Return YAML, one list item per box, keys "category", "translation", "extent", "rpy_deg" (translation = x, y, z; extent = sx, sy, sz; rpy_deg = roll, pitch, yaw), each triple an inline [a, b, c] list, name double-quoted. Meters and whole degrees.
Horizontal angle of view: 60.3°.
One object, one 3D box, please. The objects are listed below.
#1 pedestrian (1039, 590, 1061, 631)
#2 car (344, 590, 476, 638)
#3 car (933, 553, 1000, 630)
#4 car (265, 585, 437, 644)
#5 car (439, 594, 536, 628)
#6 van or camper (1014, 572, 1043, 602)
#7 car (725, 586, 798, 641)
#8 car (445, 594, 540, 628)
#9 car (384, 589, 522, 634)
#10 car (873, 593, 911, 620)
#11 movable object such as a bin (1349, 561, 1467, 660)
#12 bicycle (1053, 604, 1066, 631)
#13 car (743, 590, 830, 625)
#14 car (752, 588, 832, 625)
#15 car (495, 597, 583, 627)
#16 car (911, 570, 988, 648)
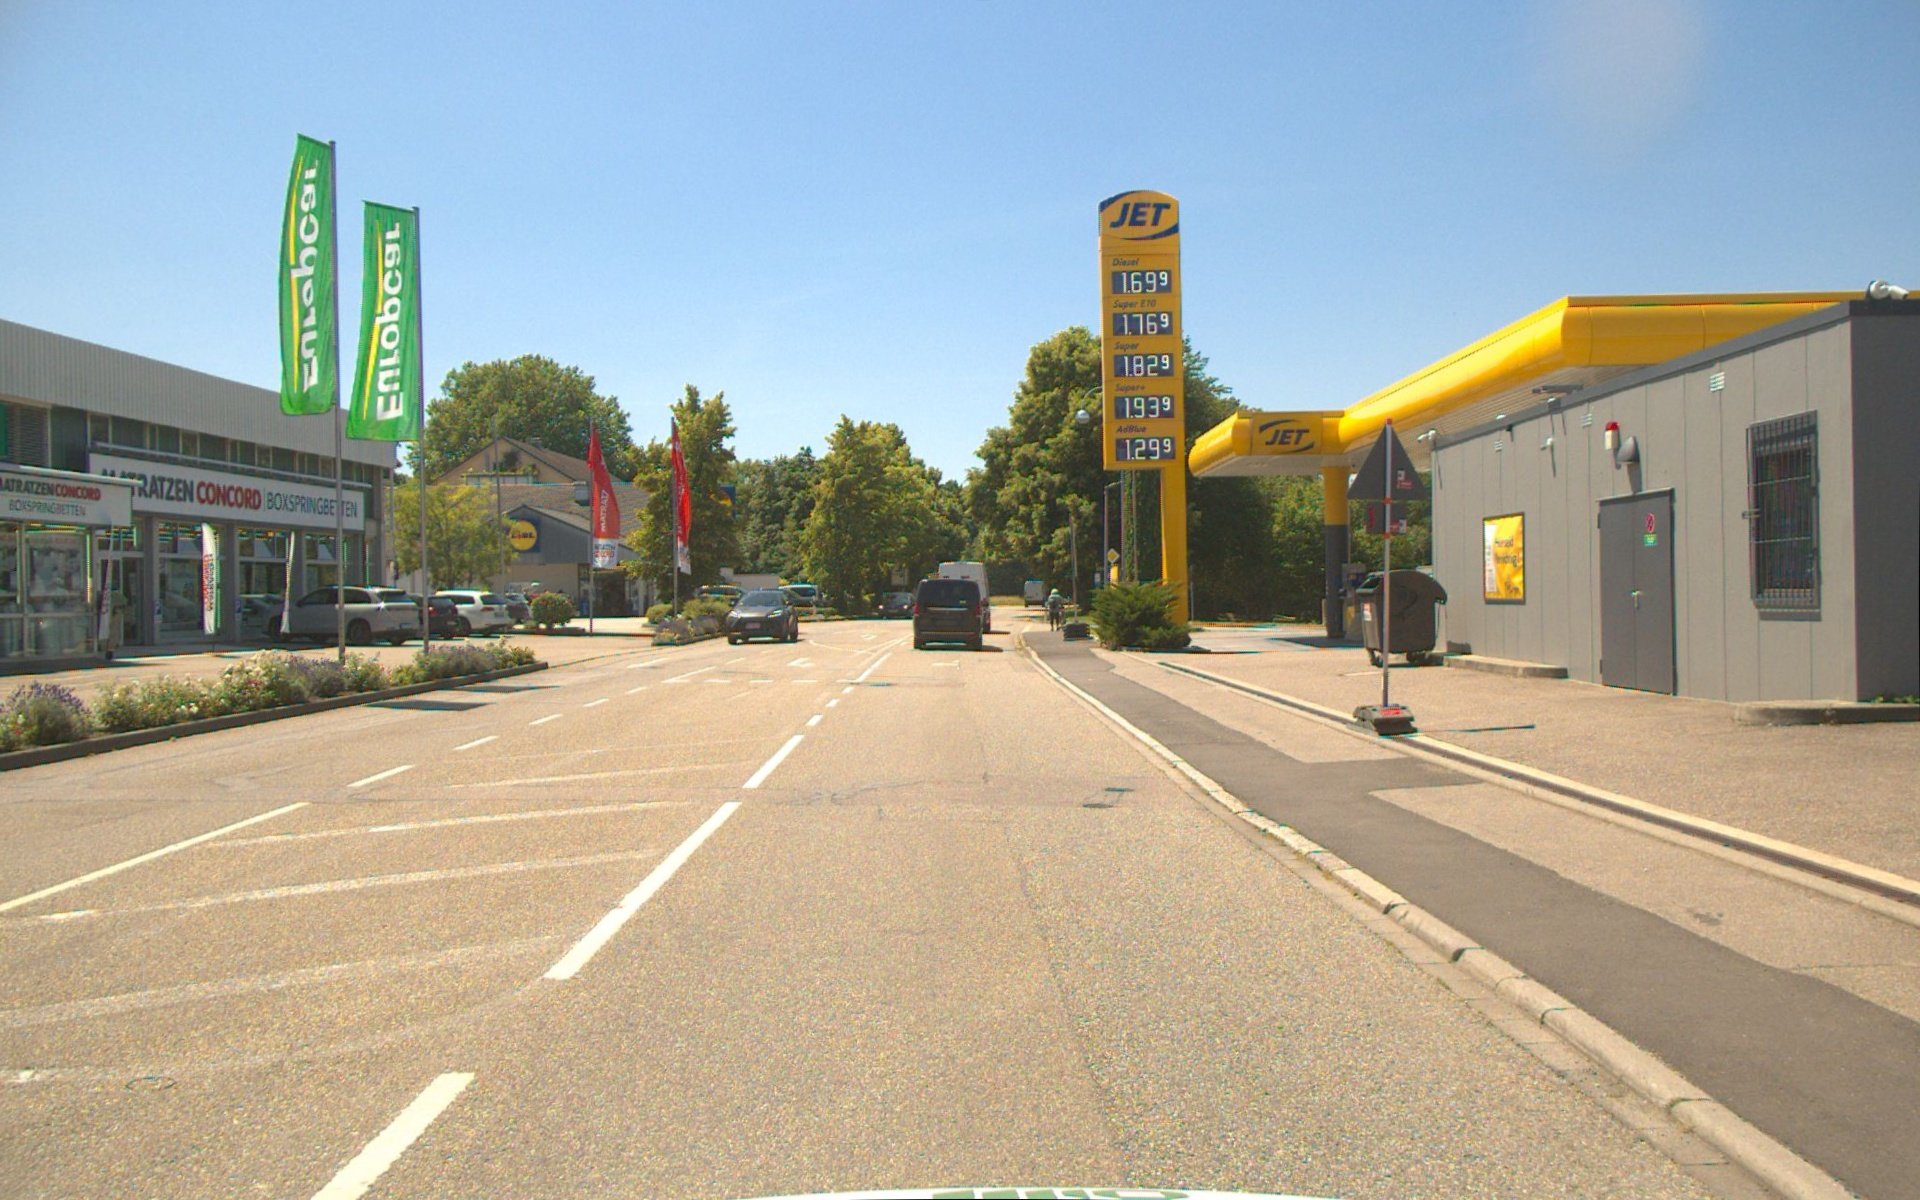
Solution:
- category: "pedestrian"
  translation: [3.151, 0.363, 57.798]
  extent: [0.752, 1.446, 0.868]
  rpy_deg: [0, 0, 6]
- category: "car"
  translation: [-17.758, 0.431, 53.460]
  extent: [3.549, 1.500, 2.001]
  rpy_deg: [0, 0, 18]
- category: "car"
  translation: [0.276, -0.308, 62.178]
  extent: [2.034, 2.750, 4.669]
  rpy_deg: [1, 0, 5]
- category: "car"
  translation: [-17.840, 0.405, 48.471]
  extent: [4.435, 1.693, 2.001]
  rpy_deg: [0, 0, 18]
- category: "car"
  translation: [-22.484, 0.538, 78.754]
  extent: [4.153, 1.617, 1.767]
  rpy_deg: [0, -1, -5]
- category: "van or camper"
  translation: [6.940, -1.317, 168.073]
  extent: [2.578, 2.980, 5.206]
  rpy_deg: [1, -1, 0]
- category: "car"
  translation: [-6.047, 0.389, 50.777]
  extent: [1.726, 1.553, 4.137]
  rpy_deg: [-2, 0, 0]
- category: "car"
  translation: [-23.759, 0.582, 84.222]
  extent: [4.224, 1.684, 2.114]
  rpy_deg: [0, -1, -1]
- category: "car"
  translation: [-17.228, 0.371, 56.261]
  extent: [4.095, 1.472, 1.981]
  rpy_deg: [0, 0, 15]
- category: "car"
  translation: [-3.761, 0.382, 92.552]
  extent: [1.892, 1.425, 4.689]
  rpy_deg: [0, -1, 0]
- category: "movable object such as a bin"
  translation: [7.056, 0.159, 26.145]
  extent: [1.405, 1.463, 1.467]
  rpy_deg: [-2, 0, 0]
- category: "bicycle"
  translation: [3.452, 0.608, 57.510]
  extent: [0.370, 0.928, 1.599]
  rpy_deg: [0, 0, 6]
- category: "car"
  translation: [-9.444, 0.412, 89.977]
  extent: [4.291, 1.877, 2.105]
  rpy_deg: [0, -1, 9]
- category: "car"
  translation: [-9.407, 0.371, 92.695]
  extent: [4.266, 2.015, 1.905]
  rpy_deg: [0, -1, 1]
- category: "car"
  translation: [-22.474, 0.651, 88.448]
  extent: [4.224, 1.557, 1.827]
  rpy_deg: [0, -1, -1]
- category: "car"
  translation: [-0.333, 0.244, 45.427]
  extent: [1.953, 1.987, 5.003]
  rpy_deg: [1, 0, -1]
